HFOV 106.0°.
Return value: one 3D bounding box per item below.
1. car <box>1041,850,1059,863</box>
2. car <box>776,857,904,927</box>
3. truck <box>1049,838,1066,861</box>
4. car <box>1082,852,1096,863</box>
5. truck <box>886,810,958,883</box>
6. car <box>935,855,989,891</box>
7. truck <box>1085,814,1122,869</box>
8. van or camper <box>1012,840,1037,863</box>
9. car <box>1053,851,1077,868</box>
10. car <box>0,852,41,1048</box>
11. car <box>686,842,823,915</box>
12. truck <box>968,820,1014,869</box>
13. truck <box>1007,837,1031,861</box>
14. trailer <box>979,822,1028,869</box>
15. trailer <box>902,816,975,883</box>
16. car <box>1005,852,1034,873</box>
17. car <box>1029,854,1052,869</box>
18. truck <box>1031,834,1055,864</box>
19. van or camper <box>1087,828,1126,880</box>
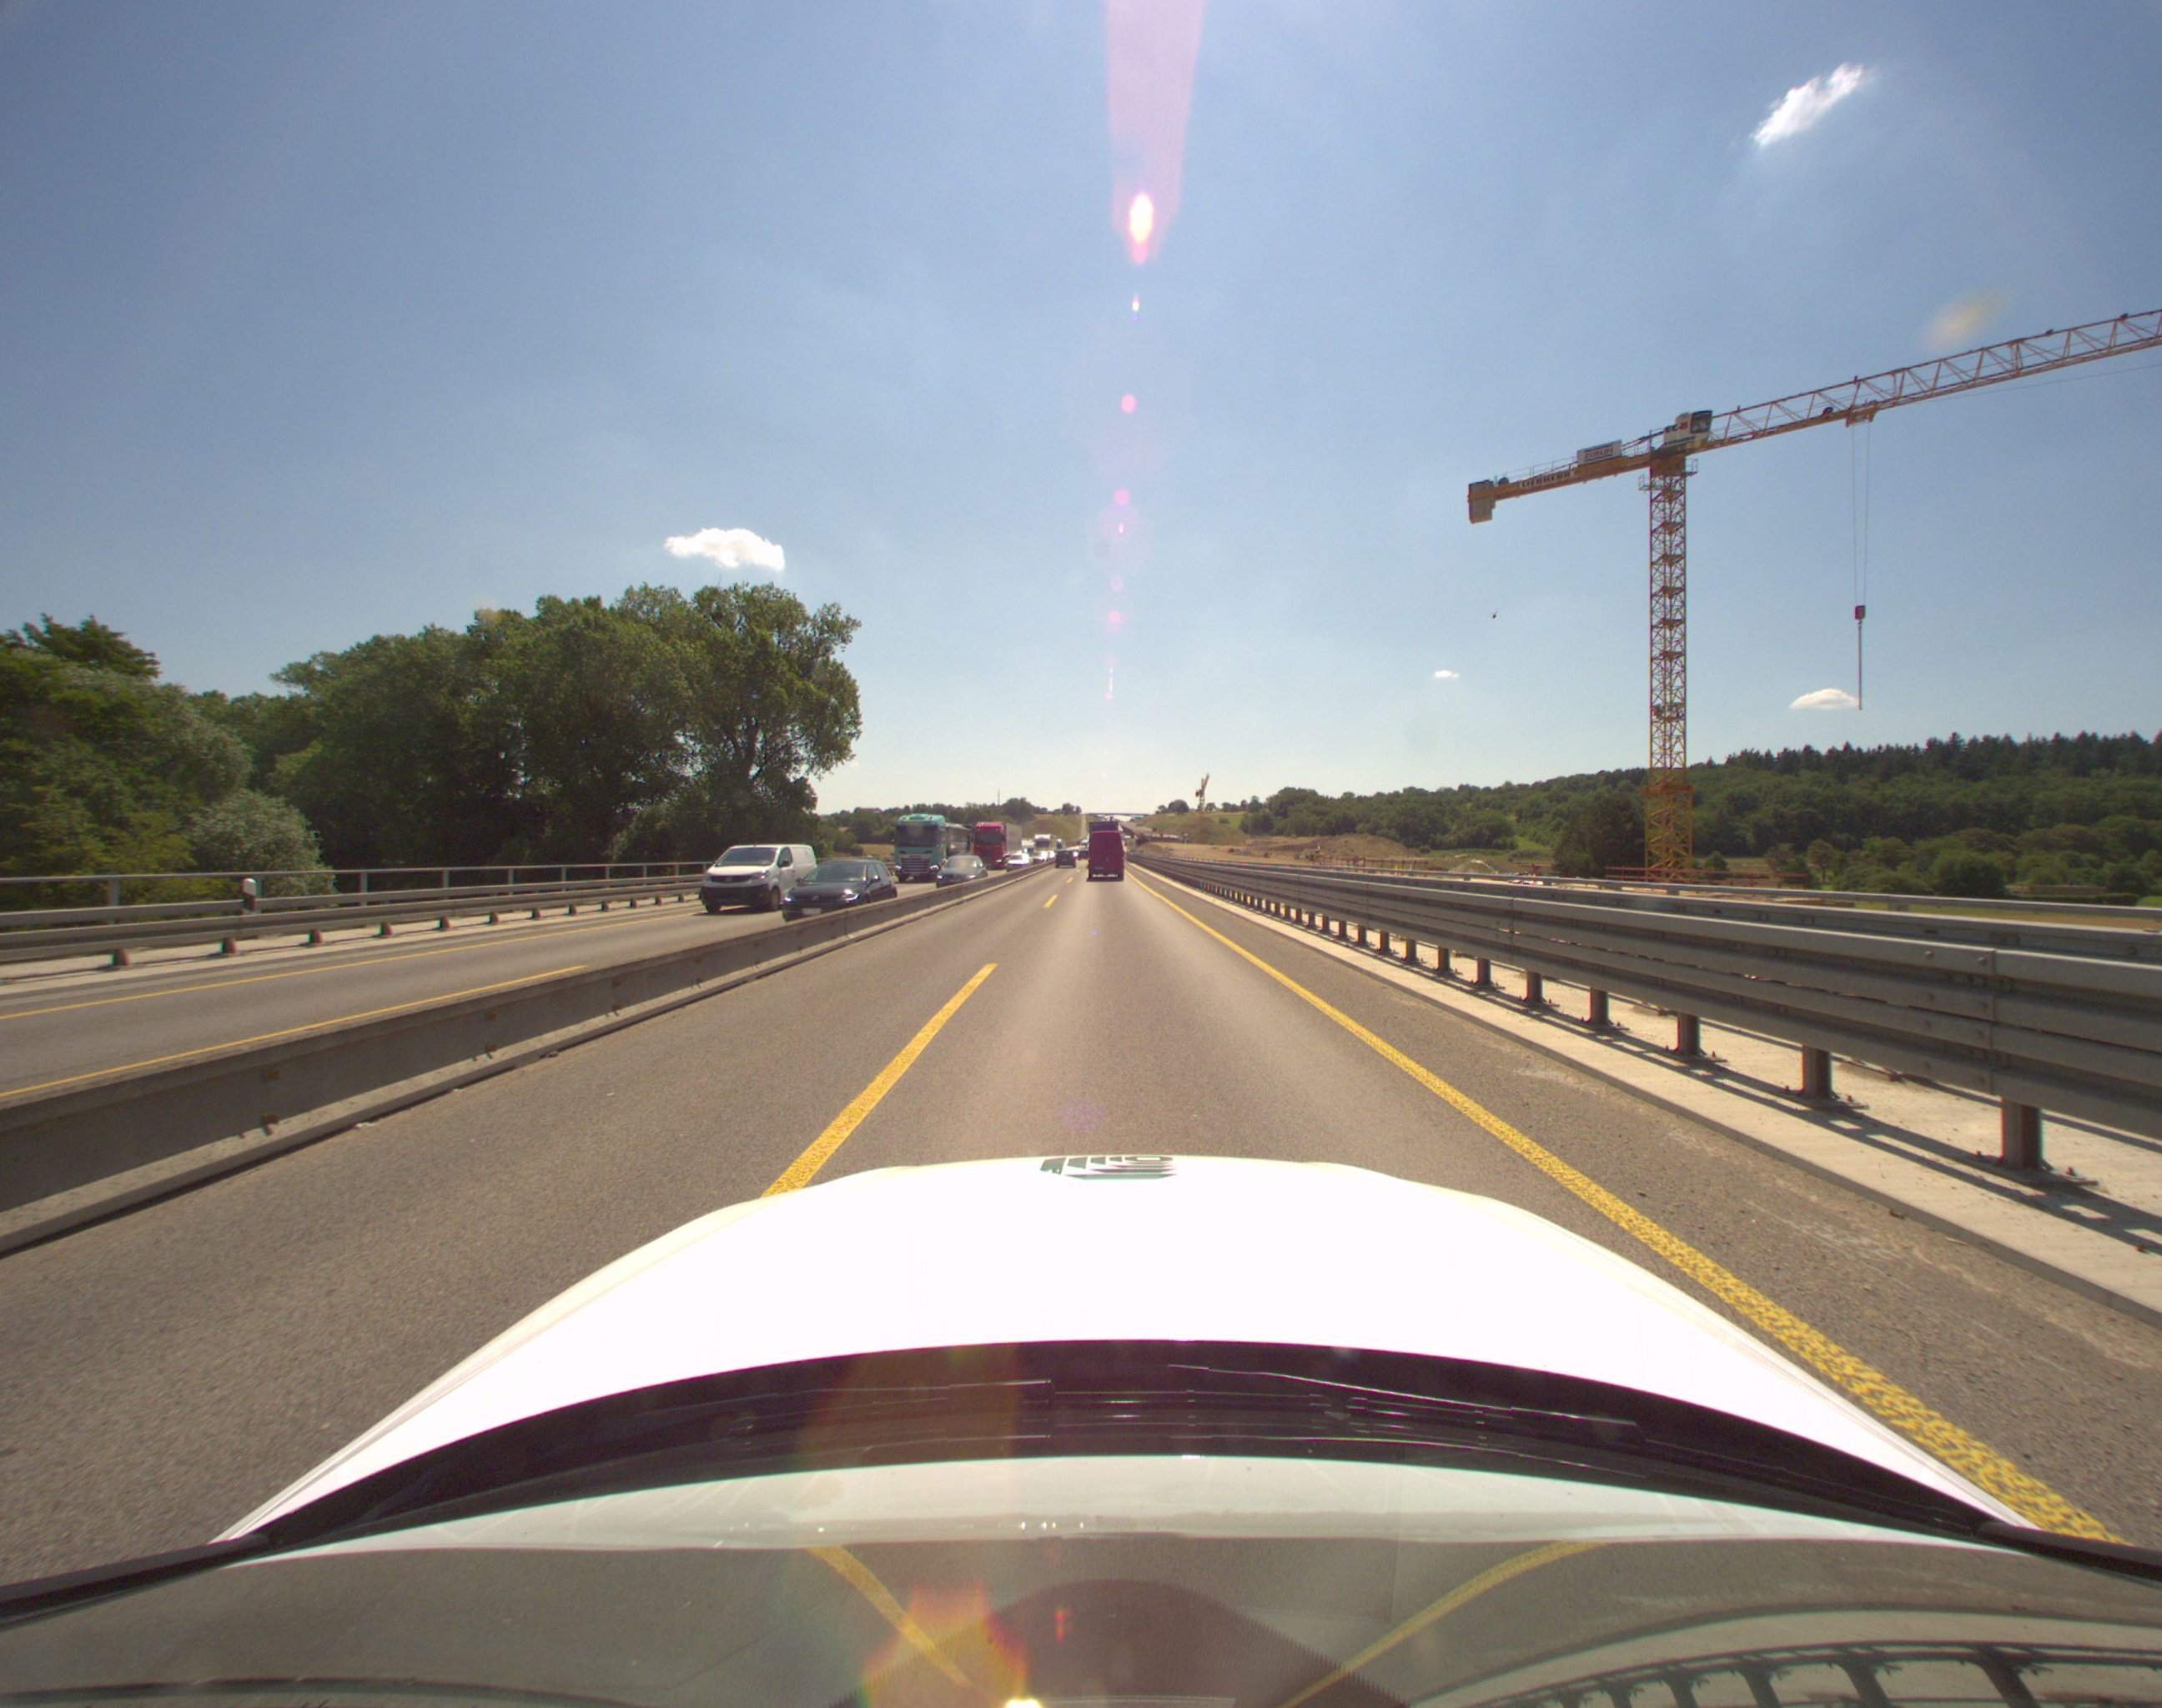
[{"bbox_3d":[-3.741,0.364,99.490,1.894,1.461,4.195,-2,0,1],"label":"car"},{"bbox_3d":[-5.567,0.808,19.348,1.673,1.392,4.157,-2,0,1],"label":"car"},{"bbox_3d":[-4.476,-0.860,156.923,2.795,4.392,6.229,-1,0,2],"label":"truck"},{"bbox_3d":[1.123,0.496,118.600,2.005,1.545,4.133,1,0,1],"label":"car"},{"bbox_3d":[-8.813,-0.386,45.728,2.787,3.722,5.374,-3,0,1],"label":"truck"},{"bbox_3d":[-5.087,0.781,35.315,1.625,1.408,4.104,-2,0,1],"label":"car"},{"bbox_3d":[1.975,-1.149,74.839,3.011,4.692,6.931,-2,0,0],"label":"truck"},{"bbox_3d":[-6.935,-0.326,100.975,2.493,2.698,5.247,-1,0,2],"label":"van or camper"},{"bbox_3d":[-1.428,0.465,73.665,2.005,1.545,4.132,0,0,0],"label":"car"},{"bbox_3d":[-9.559,0.797,4.746,1.808,1.569,3.999,-2,0,0],"label":"car"},{"bbox_3d":[-9.255,0.629,23.558,1.851,1.867,4.632,-2,0,2],"label":"car"},{"bbox_3d":[-7.705,-0.804,70.568,2.803,4.037,6.530,0,1,4],"label":"truck"},{"bbox_3d":[-9.807,-0.785,129.478,2.893,3.764,8.371,0,1,2],"label":"truck"},{"bbox_3d":[-7.245,-0.849,78.007,2.794,4.176,11.810,0,1,4],"label":"trailer"},{"bbox_3d":[-8.716,-0.255,51.026,2.785,3.672,8.956,-3,0,0],"label":"trailer"},{"bbox_3d":[-4.604,0.616,61.765,1.775,1.379,4.711,-2,0,0],"label":"car"},{"bbox_3d":[-4.098,0.755,83.182,1.883,1.487,4.921,2,0,1],"label":"car"},{"bbox_3d":[-5.832,-0.805,125.725,3.065,4.537,7.107,-1,0,3],"label":"truck"},{"bbox_3d":[1.371,-0.007,45.602,2.023,2.744,4.515,0,0,0],"label":"van or camper"}]
